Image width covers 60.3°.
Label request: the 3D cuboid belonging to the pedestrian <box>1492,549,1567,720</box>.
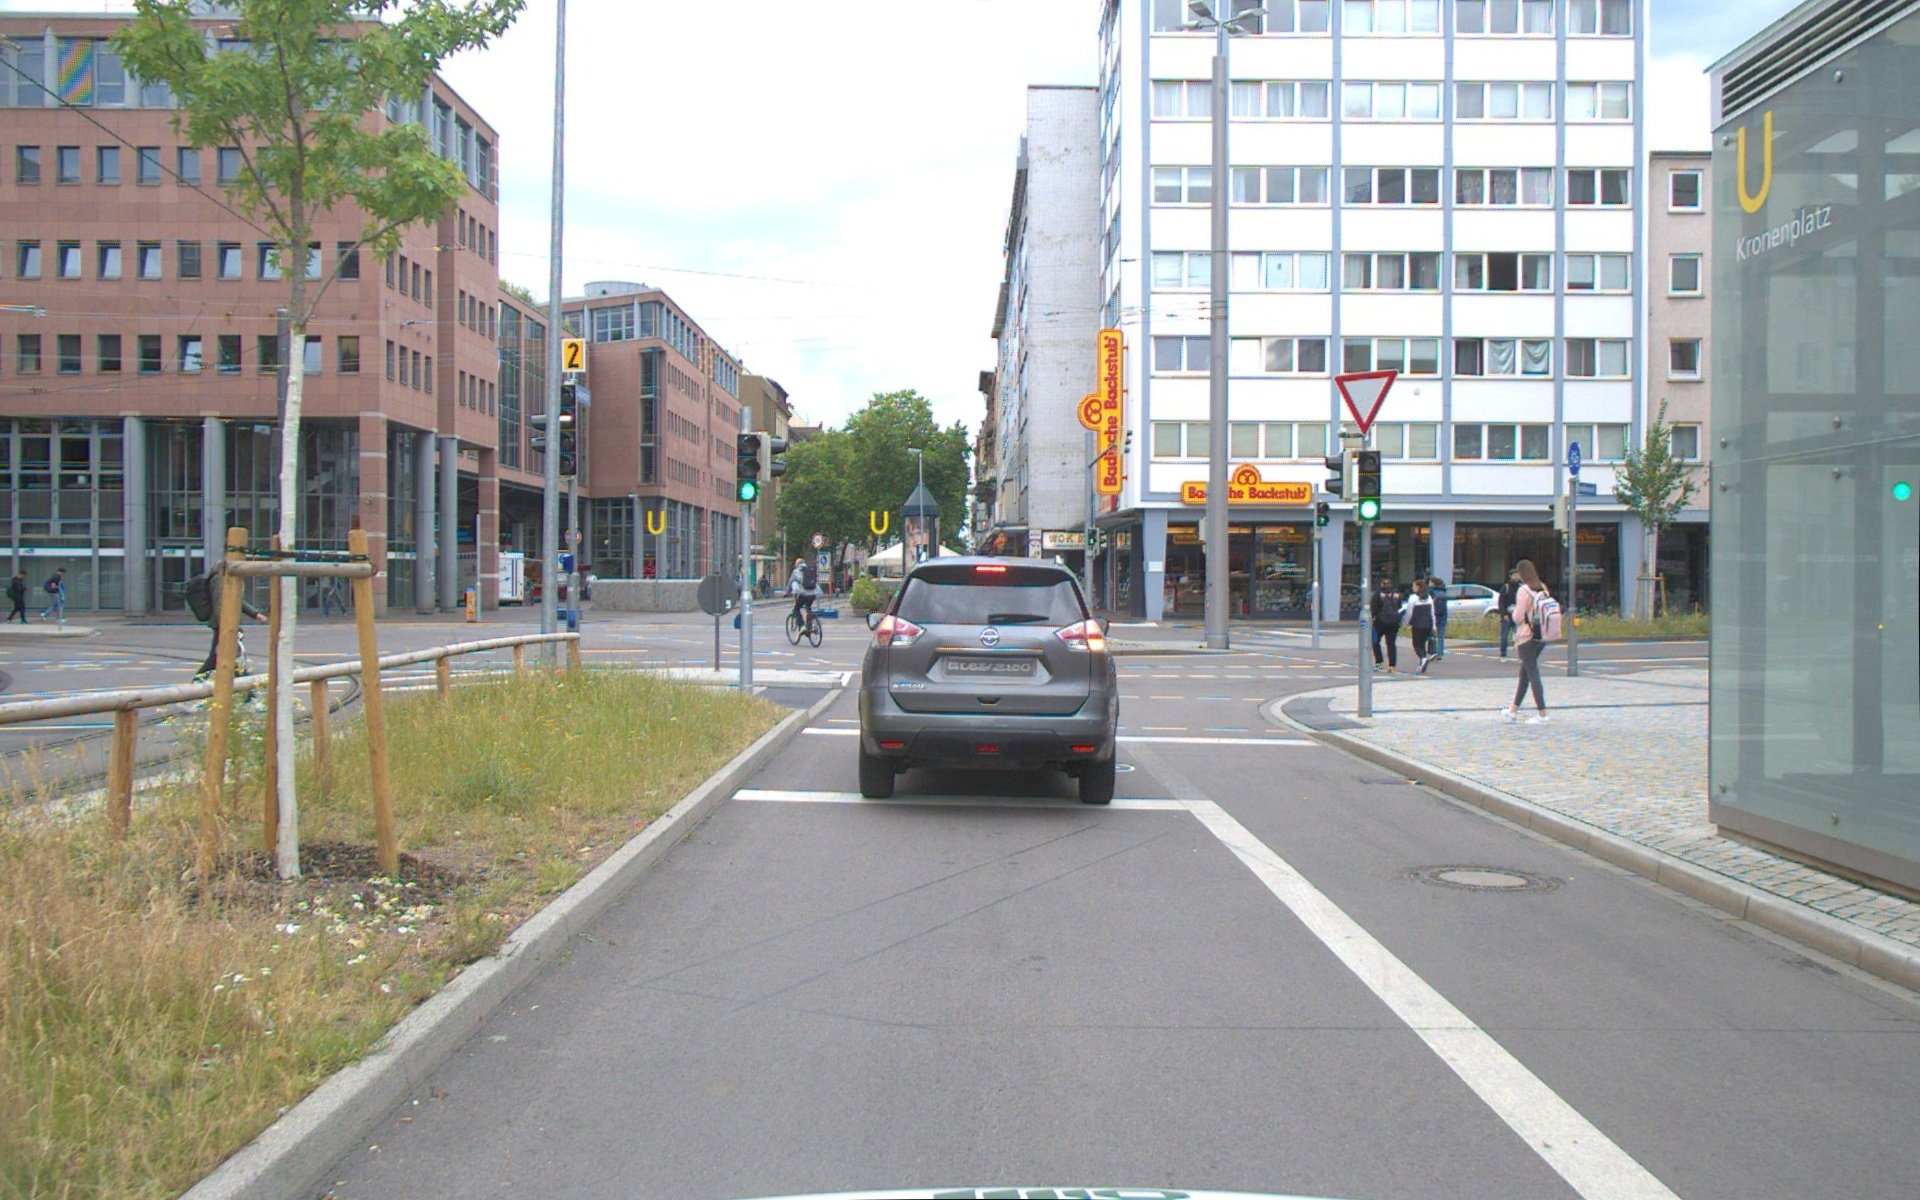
[{"bbox_3d":[6.106,0.362,17.740,0.512,1.792,0.601,1,0,-8],"label":"pedestrian"}]

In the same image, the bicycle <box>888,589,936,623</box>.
[{"bbox_3d":[-1.752,0.231,60.318,1.666,1.192,0.436,1,0,-12],"label":"bicycle"}]

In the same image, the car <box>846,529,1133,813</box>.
[{"bbox_3d":[0.202,0.467,12.886,1.825,1.806,4.567,0,0,0],"label":"car"}]

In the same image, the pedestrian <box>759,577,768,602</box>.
[{"bbox_3d":[-13.945,-0.734,117.585,0.589,1.744,0.654,1,0,-7],"label":"pedestrian"}]

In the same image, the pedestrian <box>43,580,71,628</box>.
[{"bbox_3d":[-29.981,0.130,54.945,0.732,1.588,0.570,1,-1,-24],"label":"pedestrian"}]

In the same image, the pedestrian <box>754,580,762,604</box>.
[{"bbox_3d":[-14.736,-0.602,120.678,0.589,1.744,0.654,1,0,-7],"label":"pedestrian"}]

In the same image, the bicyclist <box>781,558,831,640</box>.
[{"bbox_3d":[-3.532,-0.026,37.961,0.826,1.844,0.868,1,1,-32],"label":"bicyclist"}]

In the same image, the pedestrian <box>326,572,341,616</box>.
[{"bbox_3d":[-22.269,-0.216,58.827,0.442,1.559,0.519,1,0,-18],"label":"pedestrian"}]

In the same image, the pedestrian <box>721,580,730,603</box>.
[{"bbox_3d":[-18.126,-0.630,127.871,0.589,1.744,0.654,1,0,-7],"label":"pedestrian"}]

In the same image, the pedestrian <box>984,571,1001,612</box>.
[{"bbox_3d":[1.477,-0.380,74.828,0.723,1.853,0.662,0,0,-3],"label":"pedestrian"}]

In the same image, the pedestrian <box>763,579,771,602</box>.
[{"bbox_3d":[-15.291,-0.749,131.000,0.589,1.744,0.654,1,0,-7],"label":"pedestrian"}]

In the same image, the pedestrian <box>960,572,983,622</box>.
[{"bbox_3d":[0.422,-0.099,59.481,0.718,1.776,0.662,1,0,-8],"label":"pedestrian"}]

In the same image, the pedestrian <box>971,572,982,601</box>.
[{"bbox_3d":[0.977,-0.791,97.279,0.599,1.734,0.620,1,0,1],"label":"pedestrian"}]

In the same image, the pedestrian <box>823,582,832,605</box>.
[{"bbox_3d":[-9.808,-0.486,122.775,0.589,1.744,0.654,1,0,-7],"label":"pedestrian"}]

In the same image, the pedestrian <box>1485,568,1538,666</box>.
[{"bbox_3d":[10.918,0.335,32.793,0.786,1.895,1.154,-1,0,10],"label":"pedestrian"}]

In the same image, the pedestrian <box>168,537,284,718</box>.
[{"bbox_3d":[-8.095,0.300,18.285,0.878,1.923,0.799,2,0,-3],"label":"pedestrian"}]

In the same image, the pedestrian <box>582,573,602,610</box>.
[{"bbox_3d":[-18.905,-0.418,84.977,0.685,1.874,0.735,1,0,19],"label":"pedestrian"}]

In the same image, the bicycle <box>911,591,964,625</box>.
[{"bbox_3d":[-0.801,0.281,59.939,1.836,1.192,0.529,1,0,-15],"label":"bicycle"}]

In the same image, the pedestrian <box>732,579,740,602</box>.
[{"bbox_3d":[-17.301,-0.720,127.915,0.589,1.744,0.654,1,0,-7],"label":"pedestrian"}]

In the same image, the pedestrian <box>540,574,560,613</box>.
[{"bbox_3d":[-19.815,-0.311,79.911,0.727,1.874,0.693,1,1,-38],"label":"pedestrian"}]

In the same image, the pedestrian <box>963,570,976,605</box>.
[{"bbox_3d":[0.479,-0.607,82.657,0.630,1.734,0.559,1,0,1],"label":"pedestrian"}]

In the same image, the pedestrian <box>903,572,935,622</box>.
[{"bbox_3d":[-1.460,-0.112,58.491,0.906,1.734,0.735,1,0,19],"label":"pedestrian"}]

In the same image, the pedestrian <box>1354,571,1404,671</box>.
[{"bbox_3d":[7.652,0.374,30.227,0.609,1.792,0.778,1,0,-8],"label":"pedestrian"}]

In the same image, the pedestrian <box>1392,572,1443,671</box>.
[{"bbox_3d":[8.381,0.384,30.324,0.609,1.792,0.778,1,0,-8],"label":"pedestrian"}]

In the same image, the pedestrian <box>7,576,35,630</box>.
[{"bbox_3d":[-30.496,0.106,53.719,0.733,1.717,0.569,1,-1,-27],"label":"pedestrian"}]

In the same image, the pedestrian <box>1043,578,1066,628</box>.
[{"bbox_3d":[3.340,0.114,58.477,0.695,1.734,0.735,1,0,12],"label":"pedestrian"}]

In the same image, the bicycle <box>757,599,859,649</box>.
[{"bbox_3d":[-3.524,0.530,37.972,0.894,1.063,3.239,0,1,-34],"label":"bicycle"}]

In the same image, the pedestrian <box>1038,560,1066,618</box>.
[{"bbox_3d":[3.028,-0.371,54.384,0.699,1.864,1.015,1,0,-8],"label":"pedestrian"}]

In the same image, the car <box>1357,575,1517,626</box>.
[{"bbox_3d":[14.751,0.006,51.255,4.461,1.507,1.748,-1,0,-3],"label":"car"}]
